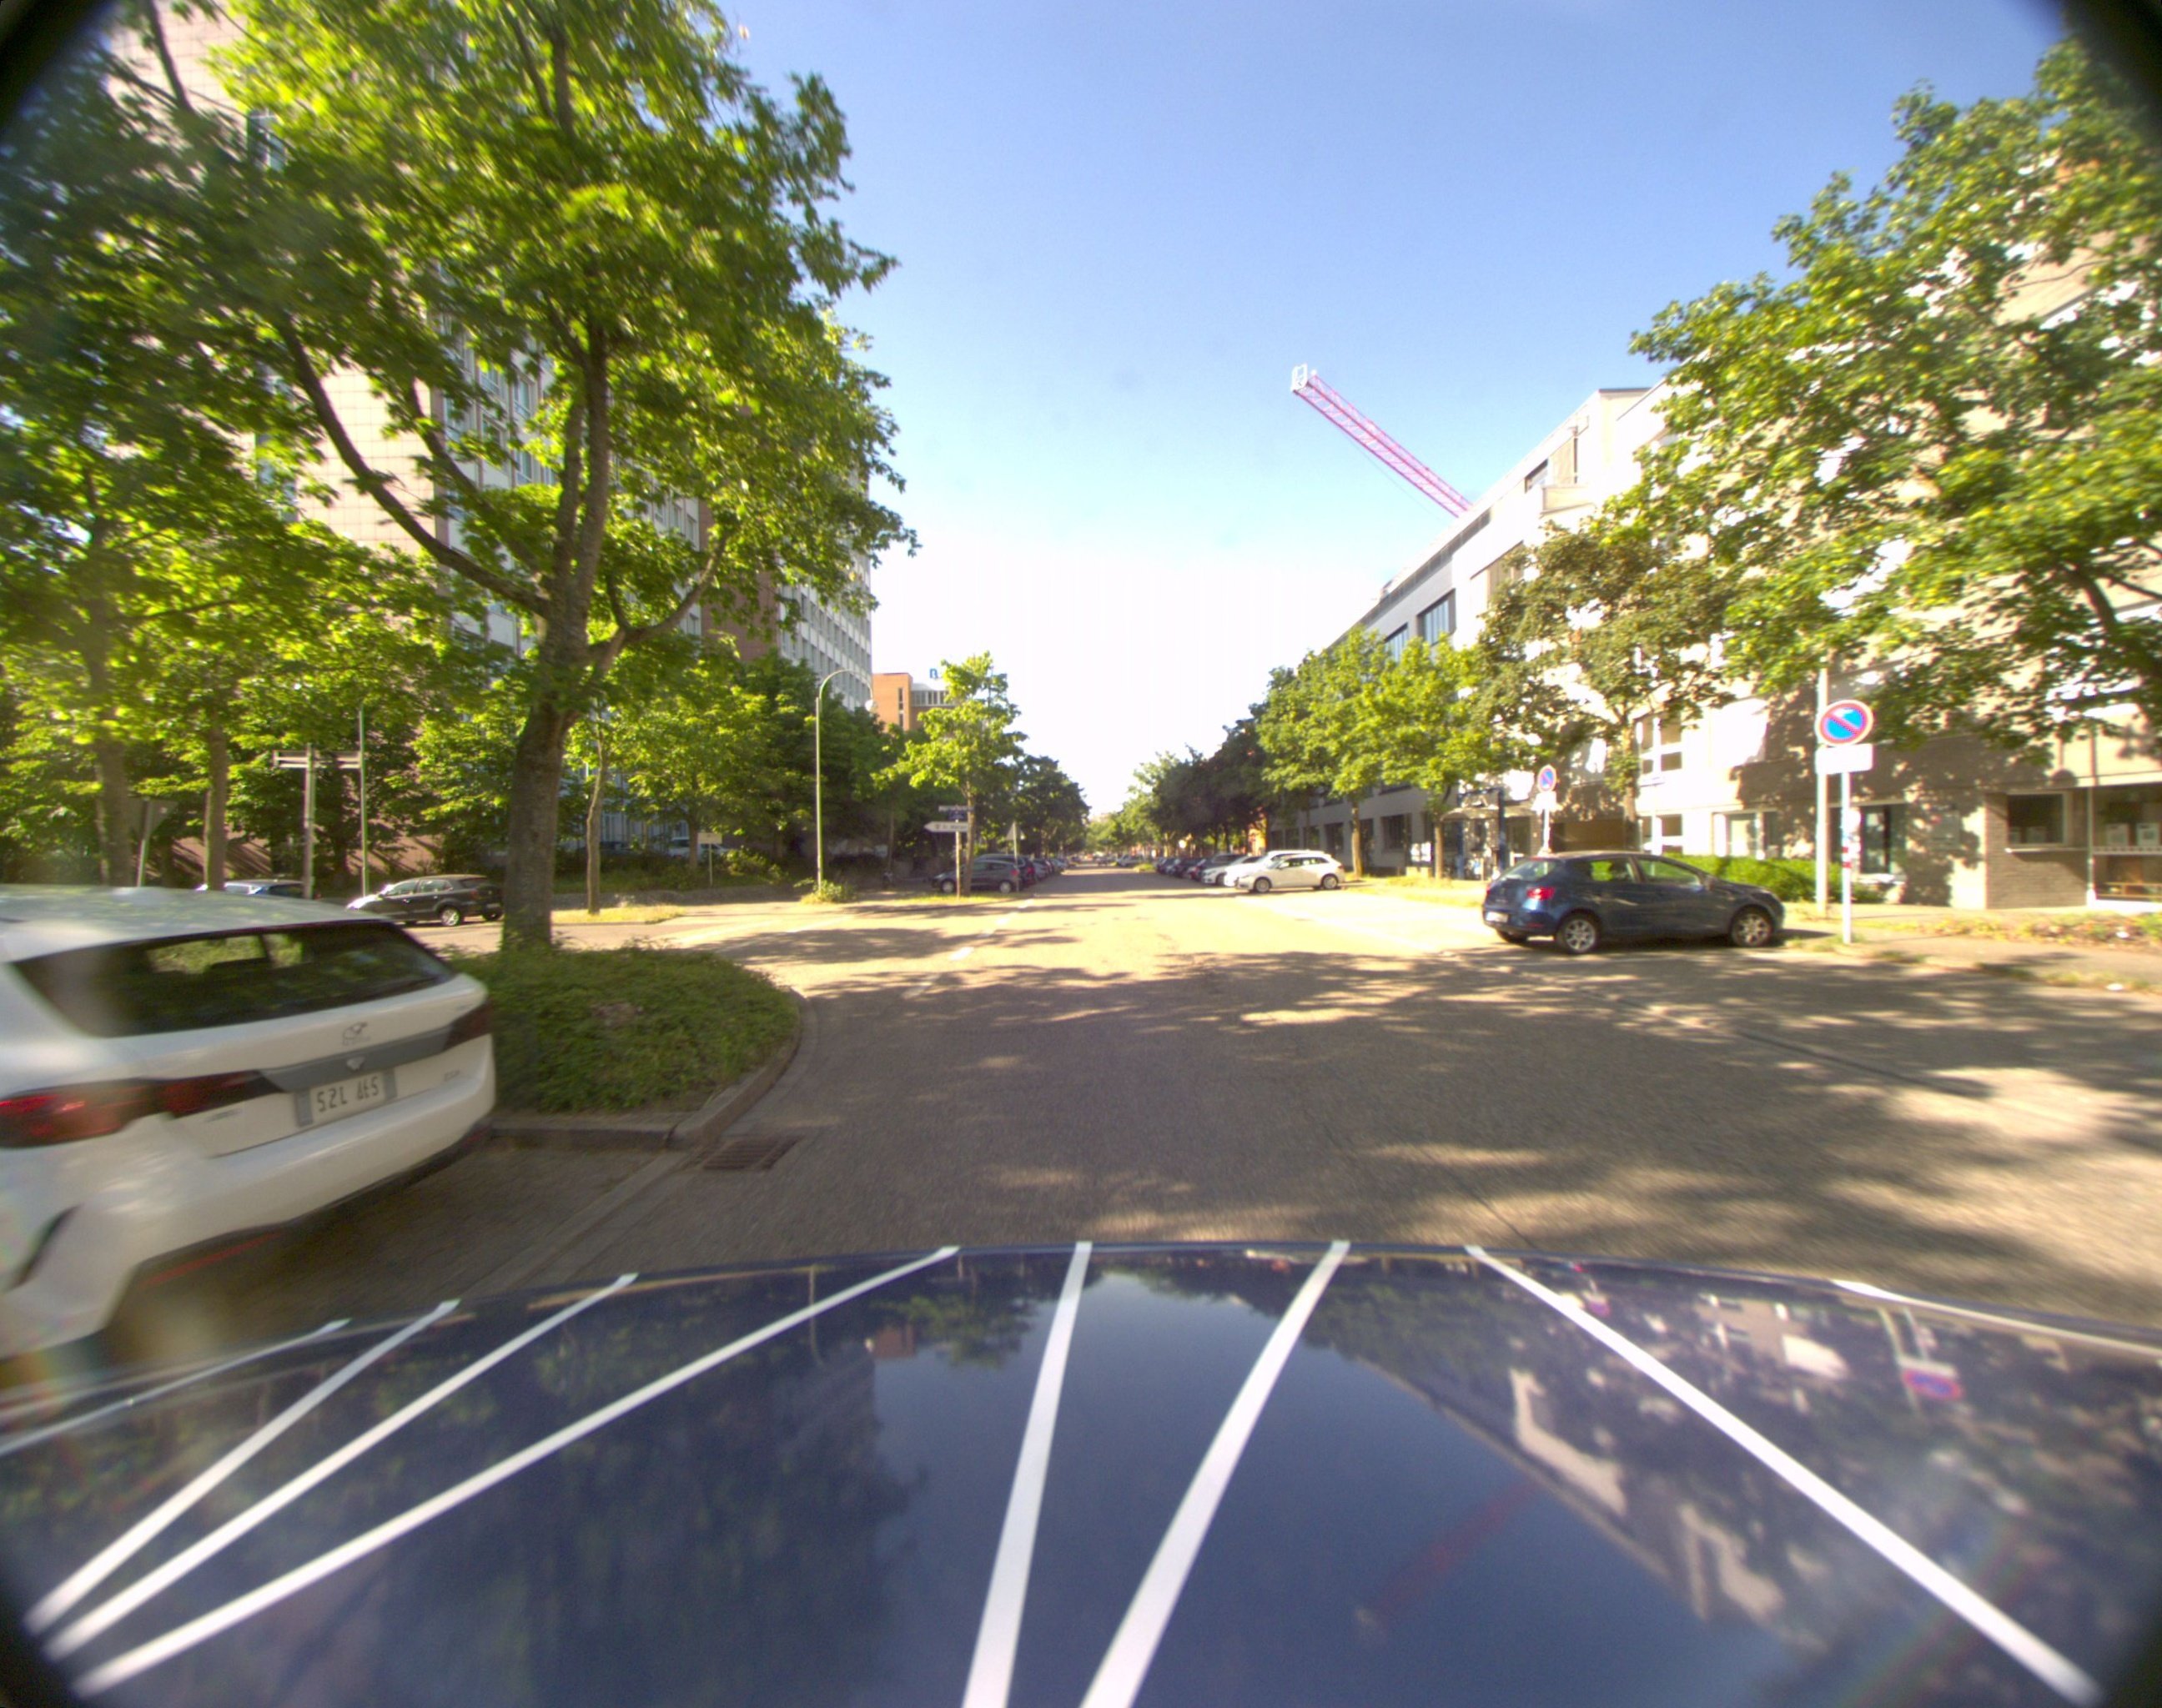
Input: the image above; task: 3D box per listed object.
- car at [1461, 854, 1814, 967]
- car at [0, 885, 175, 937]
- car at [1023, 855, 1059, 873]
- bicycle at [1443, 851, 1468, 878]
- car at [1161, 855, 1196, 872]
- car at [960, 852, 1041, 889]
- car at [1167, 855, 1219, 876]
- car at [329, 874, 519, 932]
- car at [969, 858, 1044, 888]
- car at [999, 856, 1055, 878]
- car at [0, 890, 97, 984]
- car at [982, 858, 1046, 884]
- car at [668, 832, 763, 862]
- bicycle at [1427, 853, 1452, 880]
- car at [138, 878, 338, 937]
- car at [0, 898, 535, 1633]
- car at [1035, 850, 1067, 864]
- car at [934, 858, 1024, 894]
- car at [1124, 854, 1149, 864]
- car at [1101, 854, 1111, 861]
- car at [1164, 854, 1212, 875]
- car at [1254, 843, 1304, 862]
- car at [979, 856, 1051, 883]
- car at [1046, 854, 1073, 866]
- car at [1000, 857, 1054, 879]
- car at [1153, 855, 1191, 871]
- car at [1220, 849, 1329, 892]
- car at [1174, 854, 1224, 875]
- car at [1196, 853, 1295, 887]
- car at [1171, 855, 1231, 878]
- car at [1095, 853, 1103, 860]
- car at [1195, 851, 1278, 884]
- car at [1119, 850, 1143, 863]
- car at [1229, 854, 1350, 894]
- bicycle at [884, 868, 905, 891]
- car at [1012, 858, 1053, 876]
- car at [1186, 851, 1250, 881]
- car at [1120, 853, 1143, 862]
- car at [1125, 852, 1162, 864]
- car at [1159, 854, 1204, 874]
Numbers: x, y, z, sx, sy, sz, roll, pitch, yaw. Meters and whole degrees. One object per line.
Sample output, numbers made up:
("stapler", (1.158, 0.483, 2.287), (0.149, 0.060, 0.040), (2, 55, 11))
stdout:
("car", (8.138, 0.772, 11.356), (3.998, 1.403, 1.816), (-2, 1, -3))
("car", (-29.159, 1.637, 22.160), (3.501, 1.297, 1.552), (-2, 1, -1))
("car", (-3.621, 0.933, 68.739), (3.053, 1.595, 1.604), (0, 0, 3))
("bicycle", (17.069, 0.463, 34.658), (0.338, 1.168, 1.627), (-2, 1, 1))
("car", (8.678, 0.823, 67.927), (2.933, 1.435, 1.389), (-1, 1, 0))
("car", (-3.844, 0.780, 36.817), (3.680, 1.741, 1.724), (0, 1, 3))
("car", (8.187, 0.853, 55.856), (3.539, 1.428, 1.657), (-2, 1, -1))
("car", (-19.130, 1.403, 22.246), (3.996, 1.439, 1.769), (-2, 1, 1))
("car", (-3.973, 0.981, 40.873), (3.881, 1.556, 1.808), (0, 1, -4))
("car", (-3.918, 0.926, 55.326), (3.982, 1.540, 1.683), (-1, 0, -3))
("car", (-19.993, 1.451, 12.937), (3.997, 1.521, 1.835), (-1, 0, -1))
("car", (-4.012, 1.014, 45.896), (3.720, 1.472, 1.724), (0, 1, 0))
("car", (-21.780, -0.390, 45.456), (4.729, 1.676, 1.875), (-1, 0, -3))
("bicycle", (16.133, 0.538, 34.217), (0.338, 1.168, 1.627), (-2, 1, 1))
("car", (-24.215, 1.524, 21.930), (3.854, 1.460, 1.650), (-2, 1, 0))
("car", (-4.774, 0.998, 2.591), (4.439, 1.583, 1.836), (1, 0, -2))
("car", (-3.902, 0.372, 98.952), (4.164, 1.696, 1.999), (-2, 1, -2))
("car", (-4.536, 0.982, 34.183), (3.845, 1.438, 1.592), (2, -1, -2))
("car", (9.045, 0.848, 124.213), (3.967, 1.463, 1.953), (-2, 1, 2))
("car", (5.118, 0.747, 155.035), (1.766, 1.365, 4.001), (-1, 0, 4))
("car", (8.545, 0.843, 60.746), (3.527, 1.520, 1.657), (-2, 1, -1))
("car", (23.541, -0.188, 90.351), (5.328, 2.086, 1.932), (-2, 1, -1))
("car", (-4.203, 0.985, 48.742), (4.431, 1.544, 1.859), (-1, 0, -1))
("car", (-3.339, 0.929, 117.200), (3.998, 1.773, 1.952), (-2, 1, -4))
("car", (-3.704, 0.972, 52.619), (3.582, 1.498, 1.724), (0, 1, -1))
("car", (9.238, 0.884, 77.684), (3.630, 1.499, 1.617), (-2, 1, -1))
("car", (8.415, 0.685, 33.310), (4.235, 1.593, 1.953), (-3, 1, 1))
("car", (9.108, 0.808, 58.634), (3.539, 1.437, 1.657), (-2, 1, -3))
("car", (8.248, 0.782, 38.365), (4.521, 1.443, 1.940), (-3, 0, -4))
("car", (8.327, 0.896, 52.919), (3.832, 1.405, 1.688), (-3, -1, -1))
("car", (4.524, 0.624, 190.825), (1.951, 1.617, 4.001), (-1, 0, 3))
("car", (8.423, 0.712, 41.431), (4.122, 1.611, 1.803), (-2, 0, 2))
("car", (8.645, 0.360, 131.570), (3.997, 2.094, 2.000), (-2, 1, -1))
("car", (8.241, 0.775, 30.278), (4.269, 1.471, 1.800), (-1, 0, 0))
("bicycle", (-8.528, 1.164, 34.811), (0.302, 0.987, 1.957), (-2, 0, 5))
("car", (-3.966, 1.073, 62.762), (3.203, 1.471, 1.589), (0, 1, 4))
("car", (8.206, 0.722, 45.734), (3.580, 1.658, 1.655), (-2, 0, 3))
("car", (9.062, 0.626, 136.799), (3.997, 1.406, 1.594), (-1, 0, -1))
("car", (9.192, 0.577, 112.007), (5.252, 1.616, 1.953), (-2, 1, 2))
("car", (8.352, 0.849, 63.252), (3.539, 1.497, 1.646), (-2, 1, -1))
